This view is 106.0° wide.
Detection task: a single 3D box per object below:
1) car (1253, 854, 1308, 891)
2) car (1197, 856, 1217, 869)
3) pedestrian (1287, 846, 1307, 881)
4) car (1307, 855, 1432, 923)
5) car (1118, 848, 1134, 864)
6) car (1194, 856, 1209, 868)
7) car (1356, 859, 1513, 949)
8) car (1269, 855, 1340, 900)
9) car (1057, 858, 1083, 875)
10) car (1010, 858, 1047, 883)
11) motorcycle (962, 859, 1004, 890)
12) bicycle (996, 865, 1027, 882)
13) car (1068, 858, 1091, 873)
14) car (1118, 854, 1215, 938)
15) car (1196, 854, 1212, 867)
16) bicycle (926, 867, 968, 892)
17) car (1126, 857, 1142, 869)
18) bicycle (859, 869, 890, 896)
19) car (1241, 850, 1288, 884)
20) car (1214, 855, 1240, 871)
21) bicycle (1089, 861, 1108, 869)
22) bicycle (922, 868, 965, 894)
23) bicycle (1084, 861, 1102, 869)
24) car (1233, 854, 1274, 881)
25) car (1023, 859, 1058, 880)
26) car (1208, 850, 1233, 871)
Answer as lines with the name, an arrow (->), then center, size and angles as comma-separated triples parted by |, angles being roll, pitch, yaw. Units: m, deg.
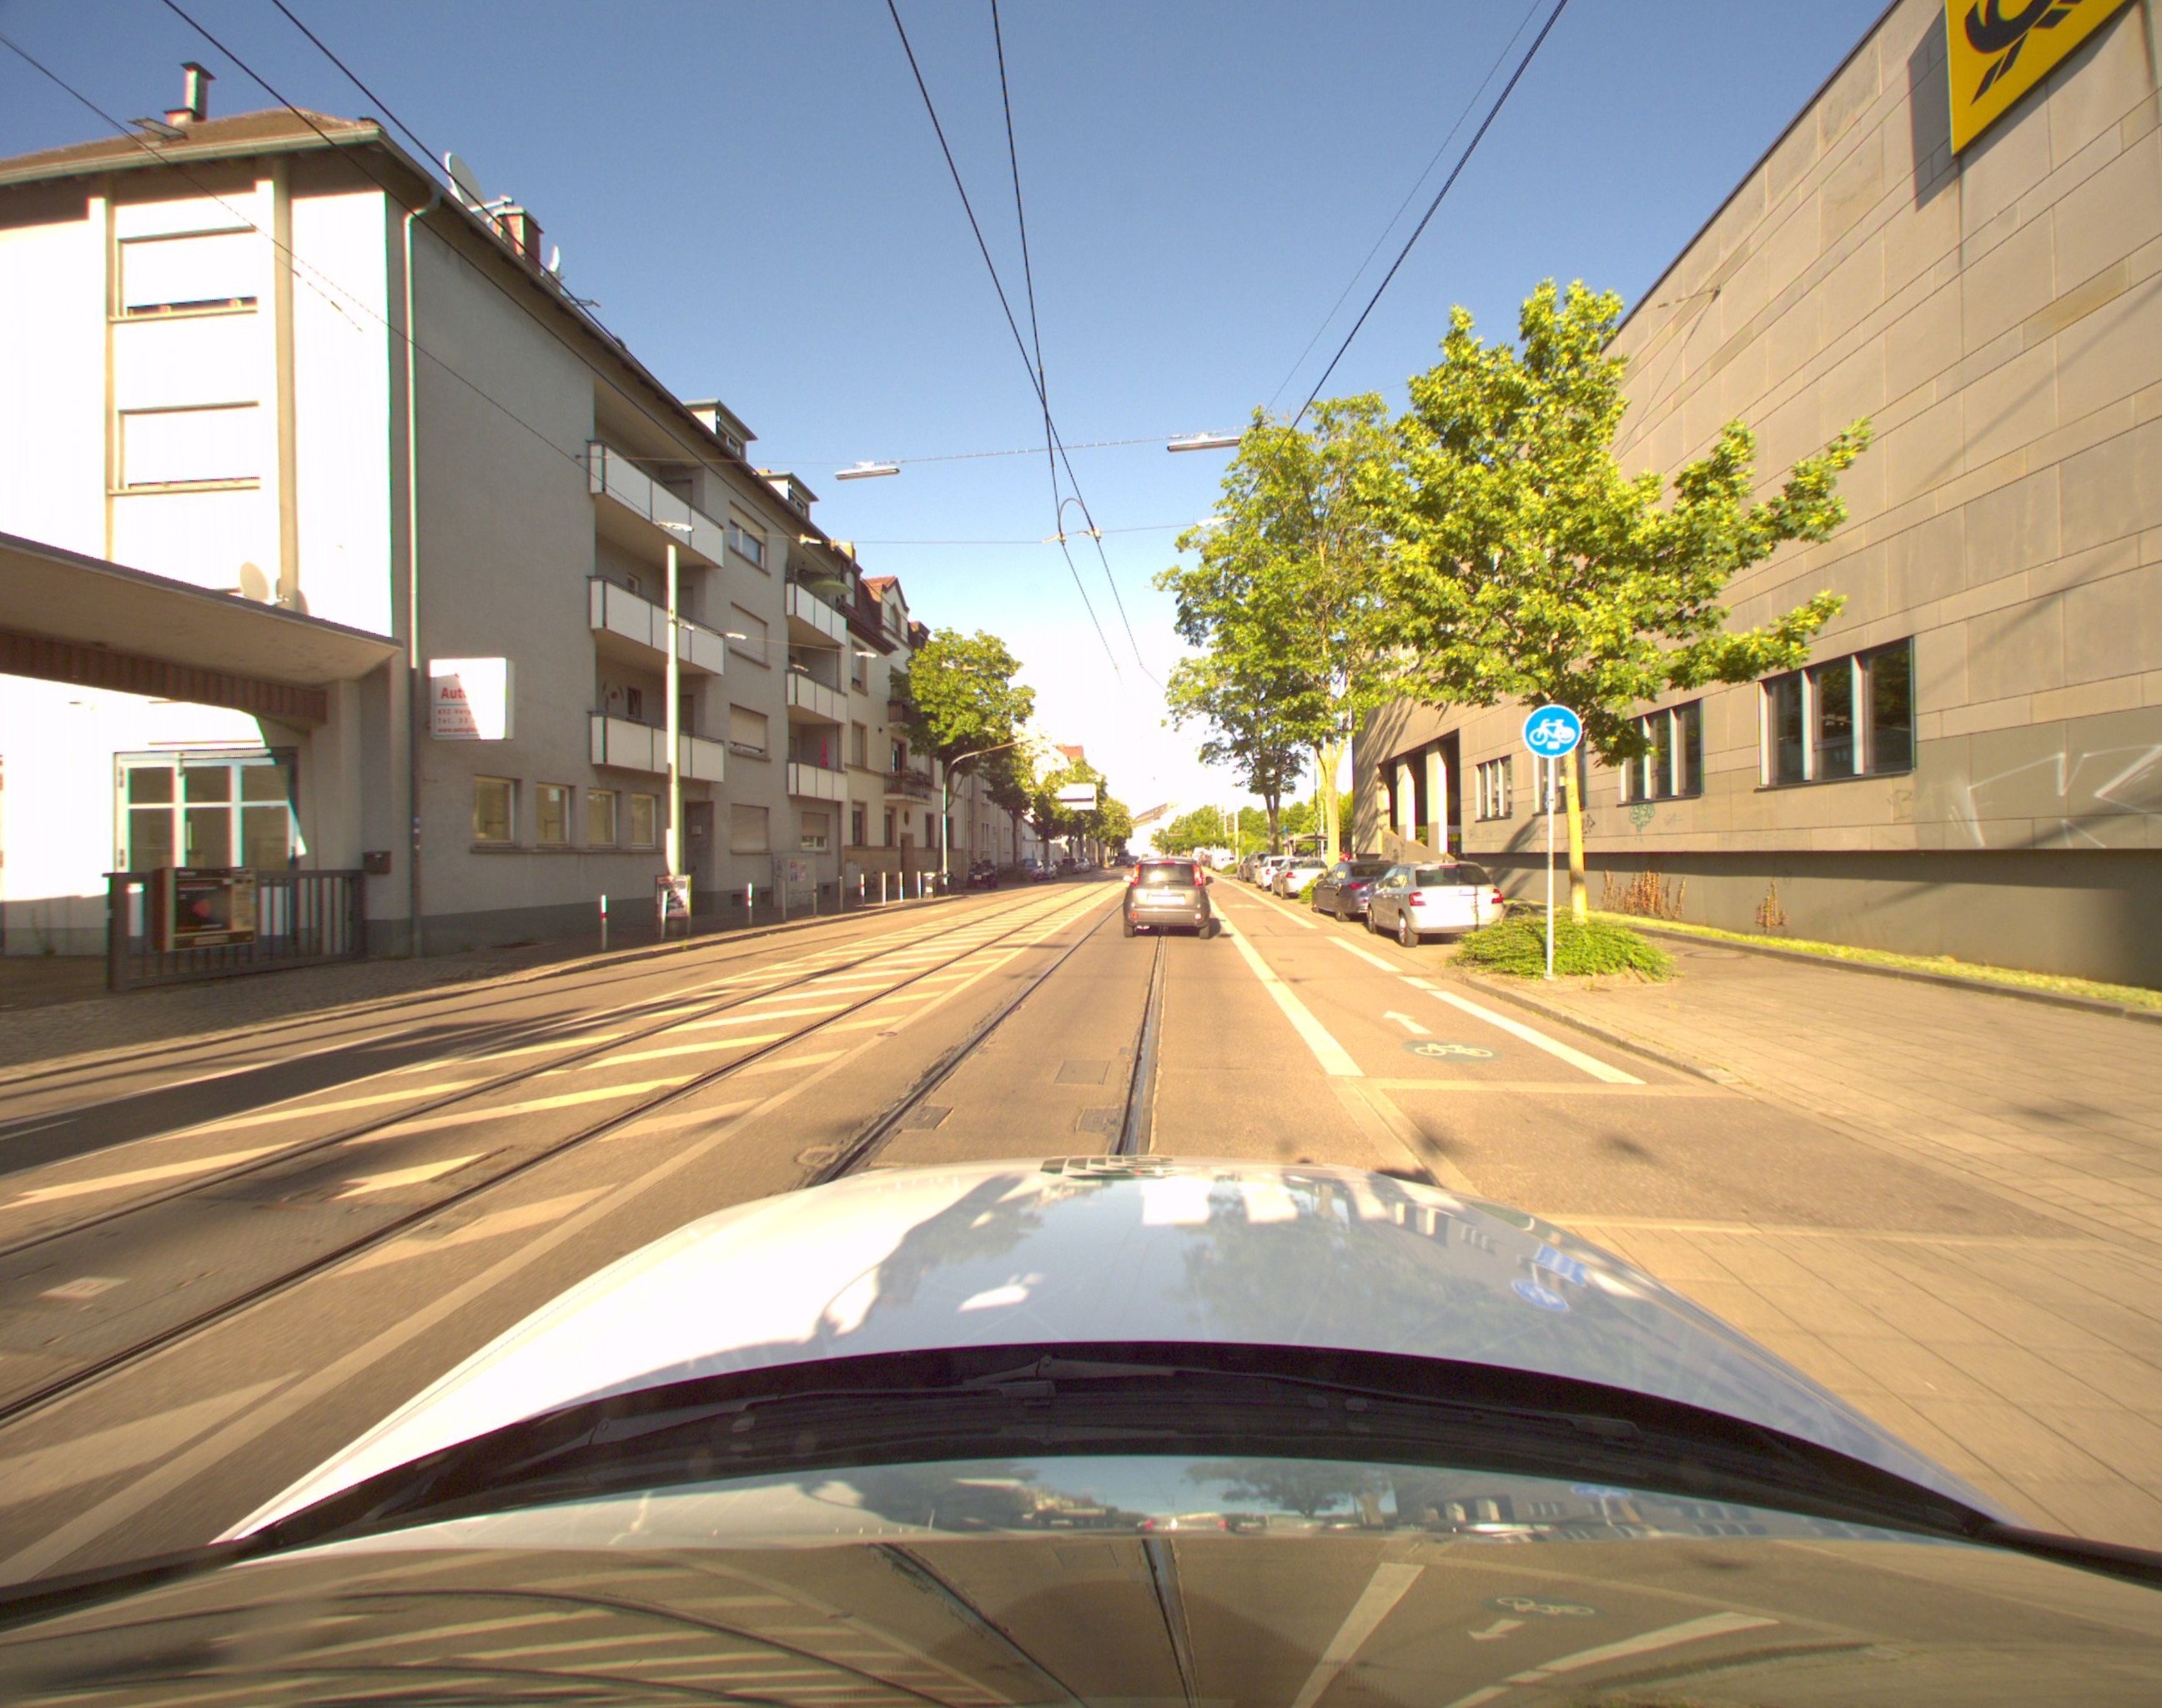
car -> 8.491, 0.748, 35.025 | 1.737, 1.458, 4.627 | -1, 0, 7
car -> 14.187, 0.955, 91.937 | 1.946, 1.419, 4.194 | -1, 0, 5
pedestrian -> 12.539, 0.551, 47.313 | 0.963, 2.014, 1.027 | -1, -1, 7
car -> 7.067, 0.791, 20.442 | 1.830, 1.490, 4.648 | -1, 0, 5
car -> 7.529, 0.316, 135.661 | 2.322, 2.569, 5.681 | -1, 0, 6
car -> 15.738, 0.981, 106.712 | 1.687, 1.499, 4.006 | -1, 0, 5
car -> 6.512, 0.842, 15.452 | 1.633, 1.455, 3.922 | -1, 0, 7
car -> 7.891, 0.775, 29.105 | 1.813, 1.464, 4.164 | -1, 0, 6
car -> -0.977, 1.081, 73.491 | 1.946, 1.419, 4.194 | -1, 0, 5
car -> -3.370, 1.037, 52.835 | 1.789, 1.486, 4.005 | -1, 0, 4
motorcycle -> -4.950, 1.027, 41.352 | 1.451, 1.481, 3.106 | -1, 0, 5
bicycle -> -4.170, 1.192, 48.917 | 1.746, 1.023, 0.606 | 1, -1, -14
car -> -0.137, 1.105, 80.767 | 1.946, 1.419, 4.194 | -1, 0, 5
car -> 1.756, 0.785, 16.607 | 1.722, 1.500, 4.007 | -1, -1, 6
car -> 15.154, 0.827, 100.309 | 1.687, 1.547, 4.006 | -1, 0, 5
bicycle -> -5.642, 1.088, 34.321 | 1.708, 1.033, 0.442 | 1, -1, -15
car -> 6.549, 1.091, 100.334 | 1.772, 1.492, 4.194 | 0, 0, 5
bicycle -> -8.174, 1.121, 32.286 | 0.504, 1.007, 2.023 | -1, 0, 6
car -> 9.522, 0.650, 42.531 | 1.808, 1.640, 4.110 | -1, 0, 5
car -> 13.083, 0.812, 73.340 | 1.905, 1.375, 4.194 | -1, 0, 5
bicycle -> 2.035, 1.295, 97.256 | 2.296, 0.930, 0.796 | -1, 0, 42
bicycle -> -5.499, 1.075, 32.555 | 1.615, 1.044, 0.454 | 1, -1, -26
bicycle -> 1.406, 1.292, 96.501 | 2.237, 0.930, 0.796 | -1, 0, 42
car -> 10.011, 0.755, 47.615 | 1.834, 1.483, 4.194 | -1, 0, 5
car -> -2.858, 1.071, 58.061 | 1.946, 1.419, 4.194 | -1, 0, 5
car -> 13.370, 0.588, 78.258 | 1.946, 1.905, 4.194 | -1, 0, 5
